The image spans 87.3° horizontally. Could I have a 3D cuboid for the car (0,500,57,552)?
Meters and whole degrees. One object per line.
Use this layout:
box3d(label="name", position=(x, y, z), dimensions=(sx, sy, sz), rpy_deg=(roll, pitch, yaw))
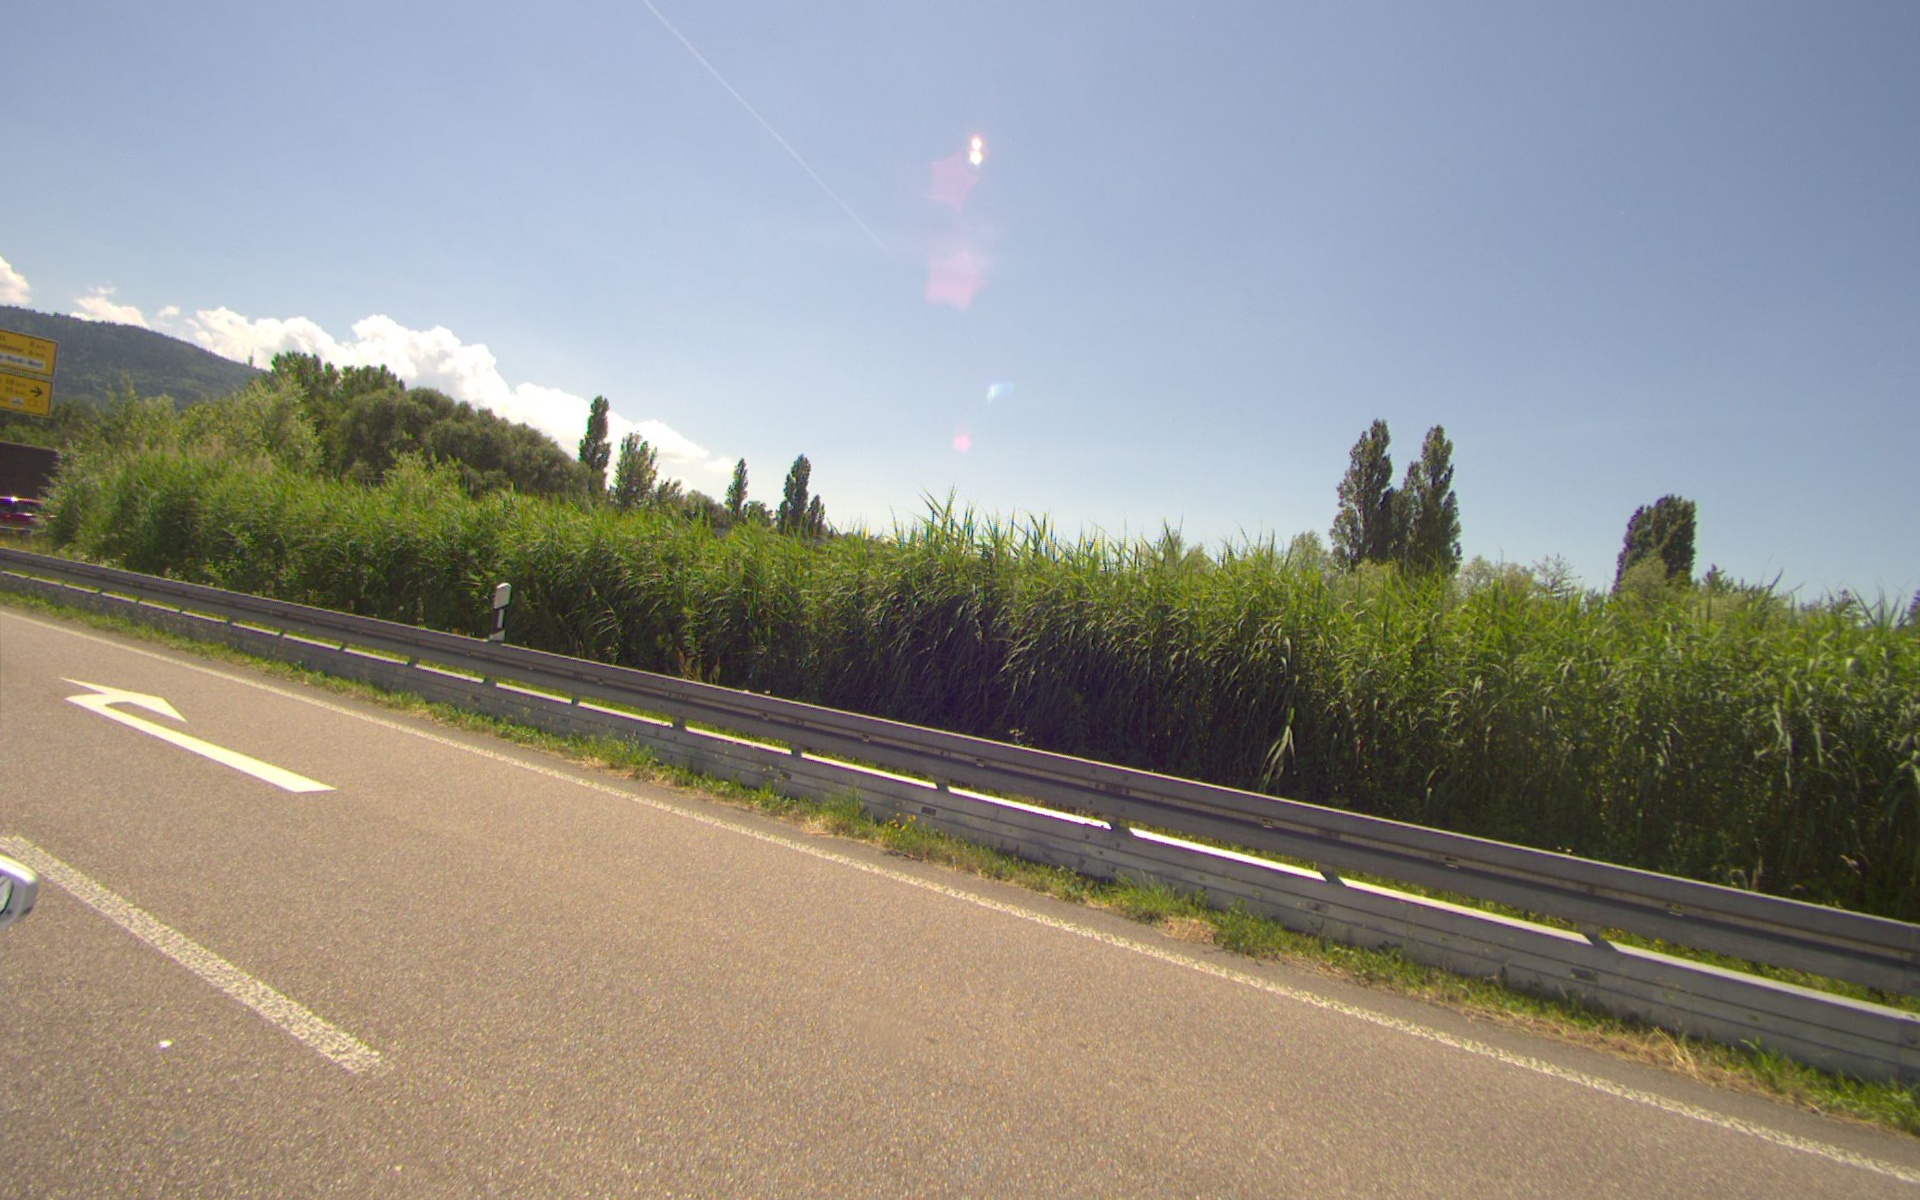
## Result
box3d(label="car", position=(-36.345, -2.956, 36.893), dimensions=(1.966, 1.676, 4.320), rpy_deg=(7, -2, 28))
